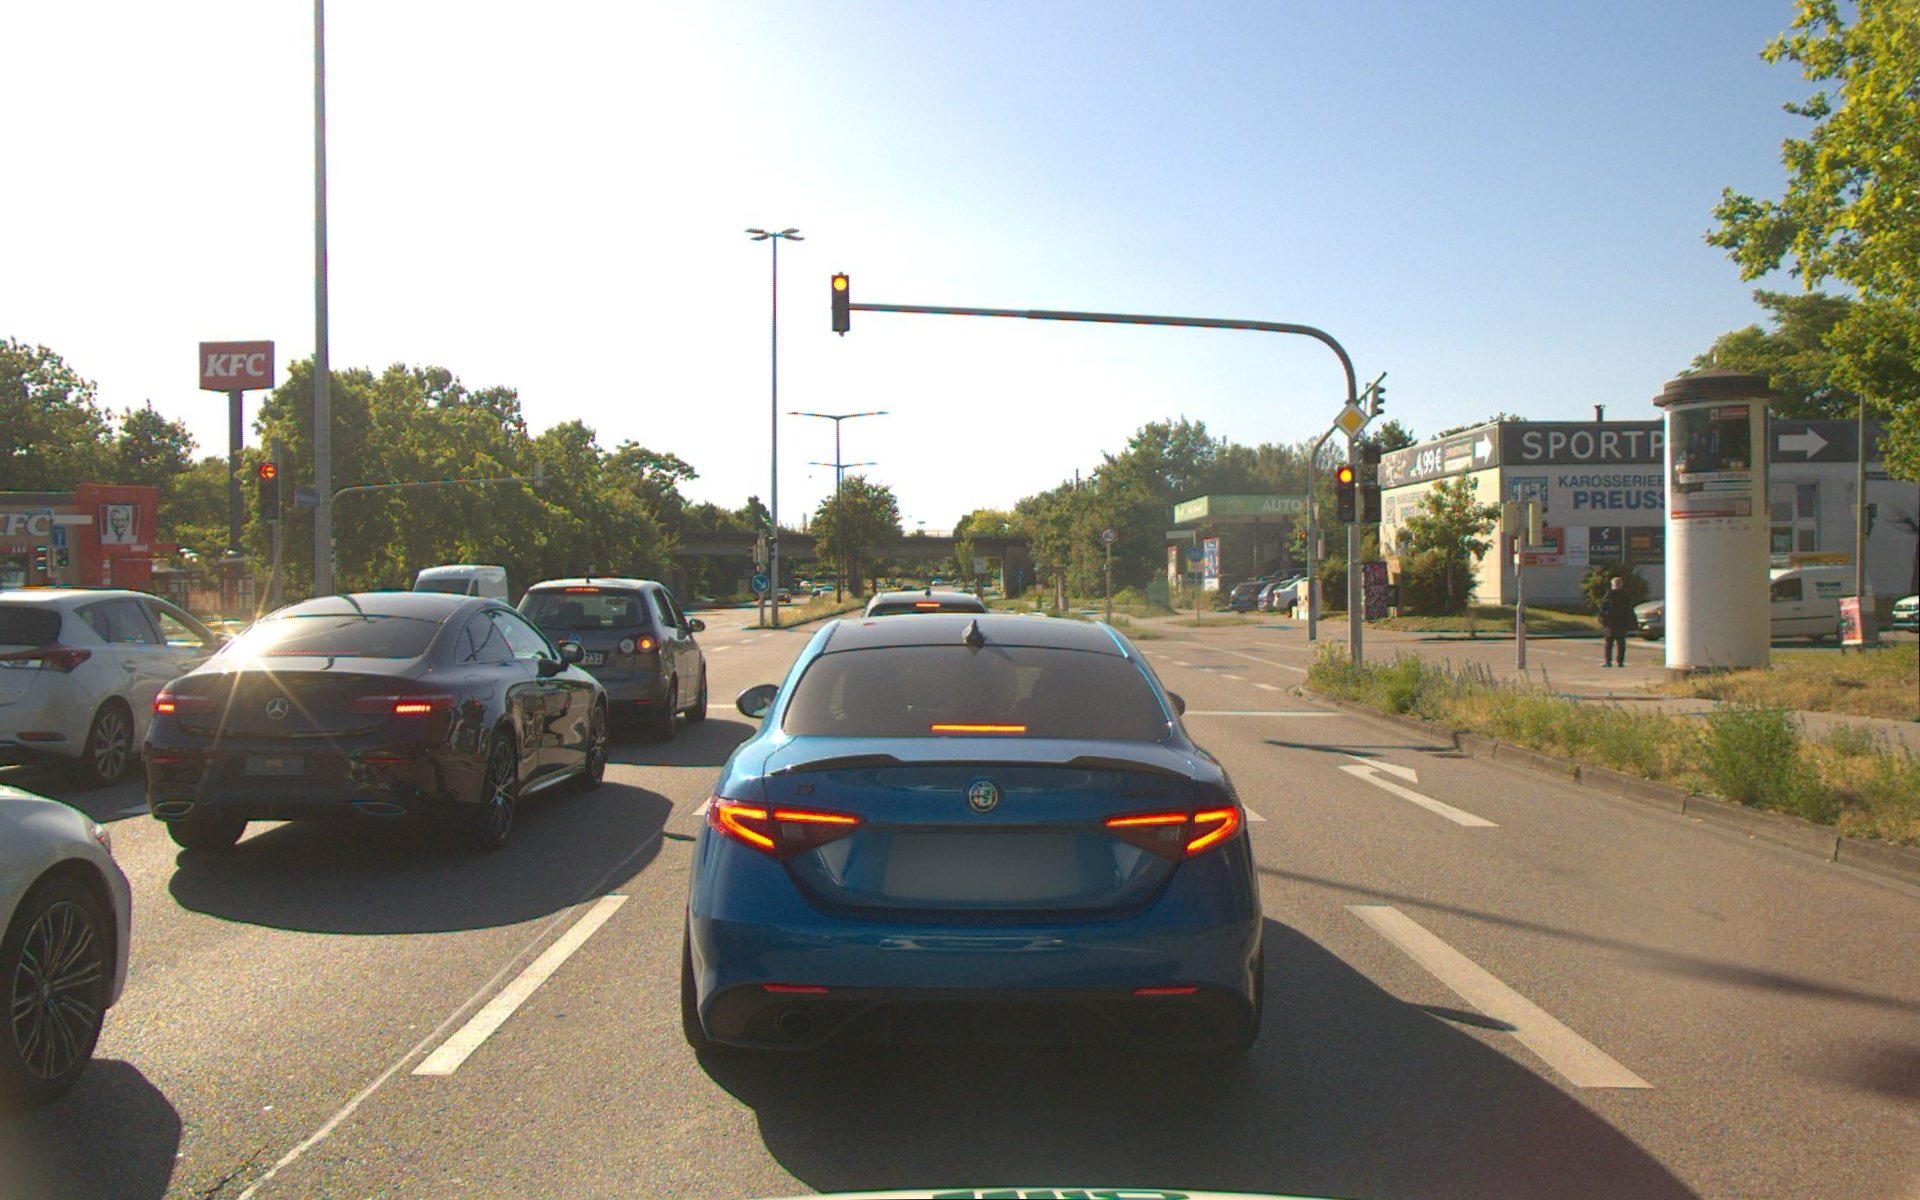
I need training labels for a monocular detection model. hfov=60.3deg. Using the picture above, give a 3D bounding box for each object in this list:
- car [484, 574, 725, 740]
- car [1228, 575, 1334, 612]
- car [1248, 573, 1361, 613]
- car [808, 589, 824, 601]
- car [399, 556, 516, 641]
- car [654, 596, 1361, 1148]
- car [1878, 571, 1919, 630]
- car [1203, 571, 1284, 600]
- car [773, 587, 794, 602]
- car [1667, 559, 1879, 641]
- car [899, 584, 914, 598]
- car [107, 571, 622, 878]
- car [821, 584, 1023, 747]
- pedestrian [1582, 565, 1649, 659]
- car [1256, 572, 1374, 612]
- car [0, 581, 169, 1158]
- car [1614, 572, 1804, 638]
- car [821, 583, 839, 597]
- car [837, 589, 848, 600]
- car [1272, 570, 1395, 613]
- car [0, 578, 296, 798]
[{"bbox_3d":[-3.625,0.542,17.643,1.723,1.516,4.401,1,0,-2],"label":"car"},{"bbox_3d":[14.394,-0.290,74.369,4.397,1.479,1.858,-2,0,1],"label":"car"},{"bbox_3d":[14.623,-0.299,70.323,4.397,1.479,1.858,-2,0,1],"label":"car"},{"bbox_3d":[-19.387,-0.635,222.818,1.723,1.516,4.477,-2,0,-1],"label":"car"},{"bbox_3d":[-16.193,-0.043,53.665,1.981,2.489,5.820,-3,0,-1],"label":"car"},{"bbox_3d":[0.067,0.735,6.587,1.857,1.443,4.401,1,0,-2],"label":"car"},{"bbox_3d":[26.735,-0.056,43.703,3.960,1.516,1.782,-2,0,-3],"label":"car"},{"bbox_3d":[16.715,-0.851,97.577,4.457,1.516,1.765,-2,0,1],"label":"car"},{"bbox_3d":[-18.576,-0.582,174.624,1.723,1.516,4.477,-2,0,-1],"label":"car"},{"bbox_3d":[19.622,-0.025,40.036,4.293,1.833,1.764,-1,2,-2],"label":"car"},{"bbox_3d":[-7.237,-1.235,224.518,1.853,1.847,3.999,1,0,-1],"label":"car"},{"bbox_3d":[-3.440,0.639,10.545,1.760,1.516,4.474,1,0,-2],"label":"car"},{"bbox_3d":[-0.415,0.604,17.215,1.813,1.443,4.401,1,0,-2],"label":"car"},{"bbox_3d":[12.687,0.229,32.048,0.906,1.765,0.938,1,-1,-1],"label":"pedestrian"},{"bbox_3d":[14.479,-0.322,67.567,4.397,1.479,1.858,-2,0,1],"label":"car"},{"bbox_3d":[-3.344,0.688,3.041,1.749,1.516,4.401,1,0,-2],"label":"car"},{"bbox_3d":[19.592,0.111,43.371,4.201,1.576,1.764,-1,2,-2],"label":"car"},{"bbox_3d":[-15.181,-1.124,193.355,1.723,1.516,3.836,-2,0,-1],"label":"car"},{"bbox_3d":[-18.001,-0.862,253.510,1.583,1.586,3.357,1,0,-1],"label":"car"},{"bbox_3d":[14.603,-0.322,64.790,4.397,1.479,1.858,-2,0,1],"label":"car"},{"bbox_3d":[-7.102,0.610,13.538,1.723,1.516,4.195,1,0,-2],"label":"car"}]
